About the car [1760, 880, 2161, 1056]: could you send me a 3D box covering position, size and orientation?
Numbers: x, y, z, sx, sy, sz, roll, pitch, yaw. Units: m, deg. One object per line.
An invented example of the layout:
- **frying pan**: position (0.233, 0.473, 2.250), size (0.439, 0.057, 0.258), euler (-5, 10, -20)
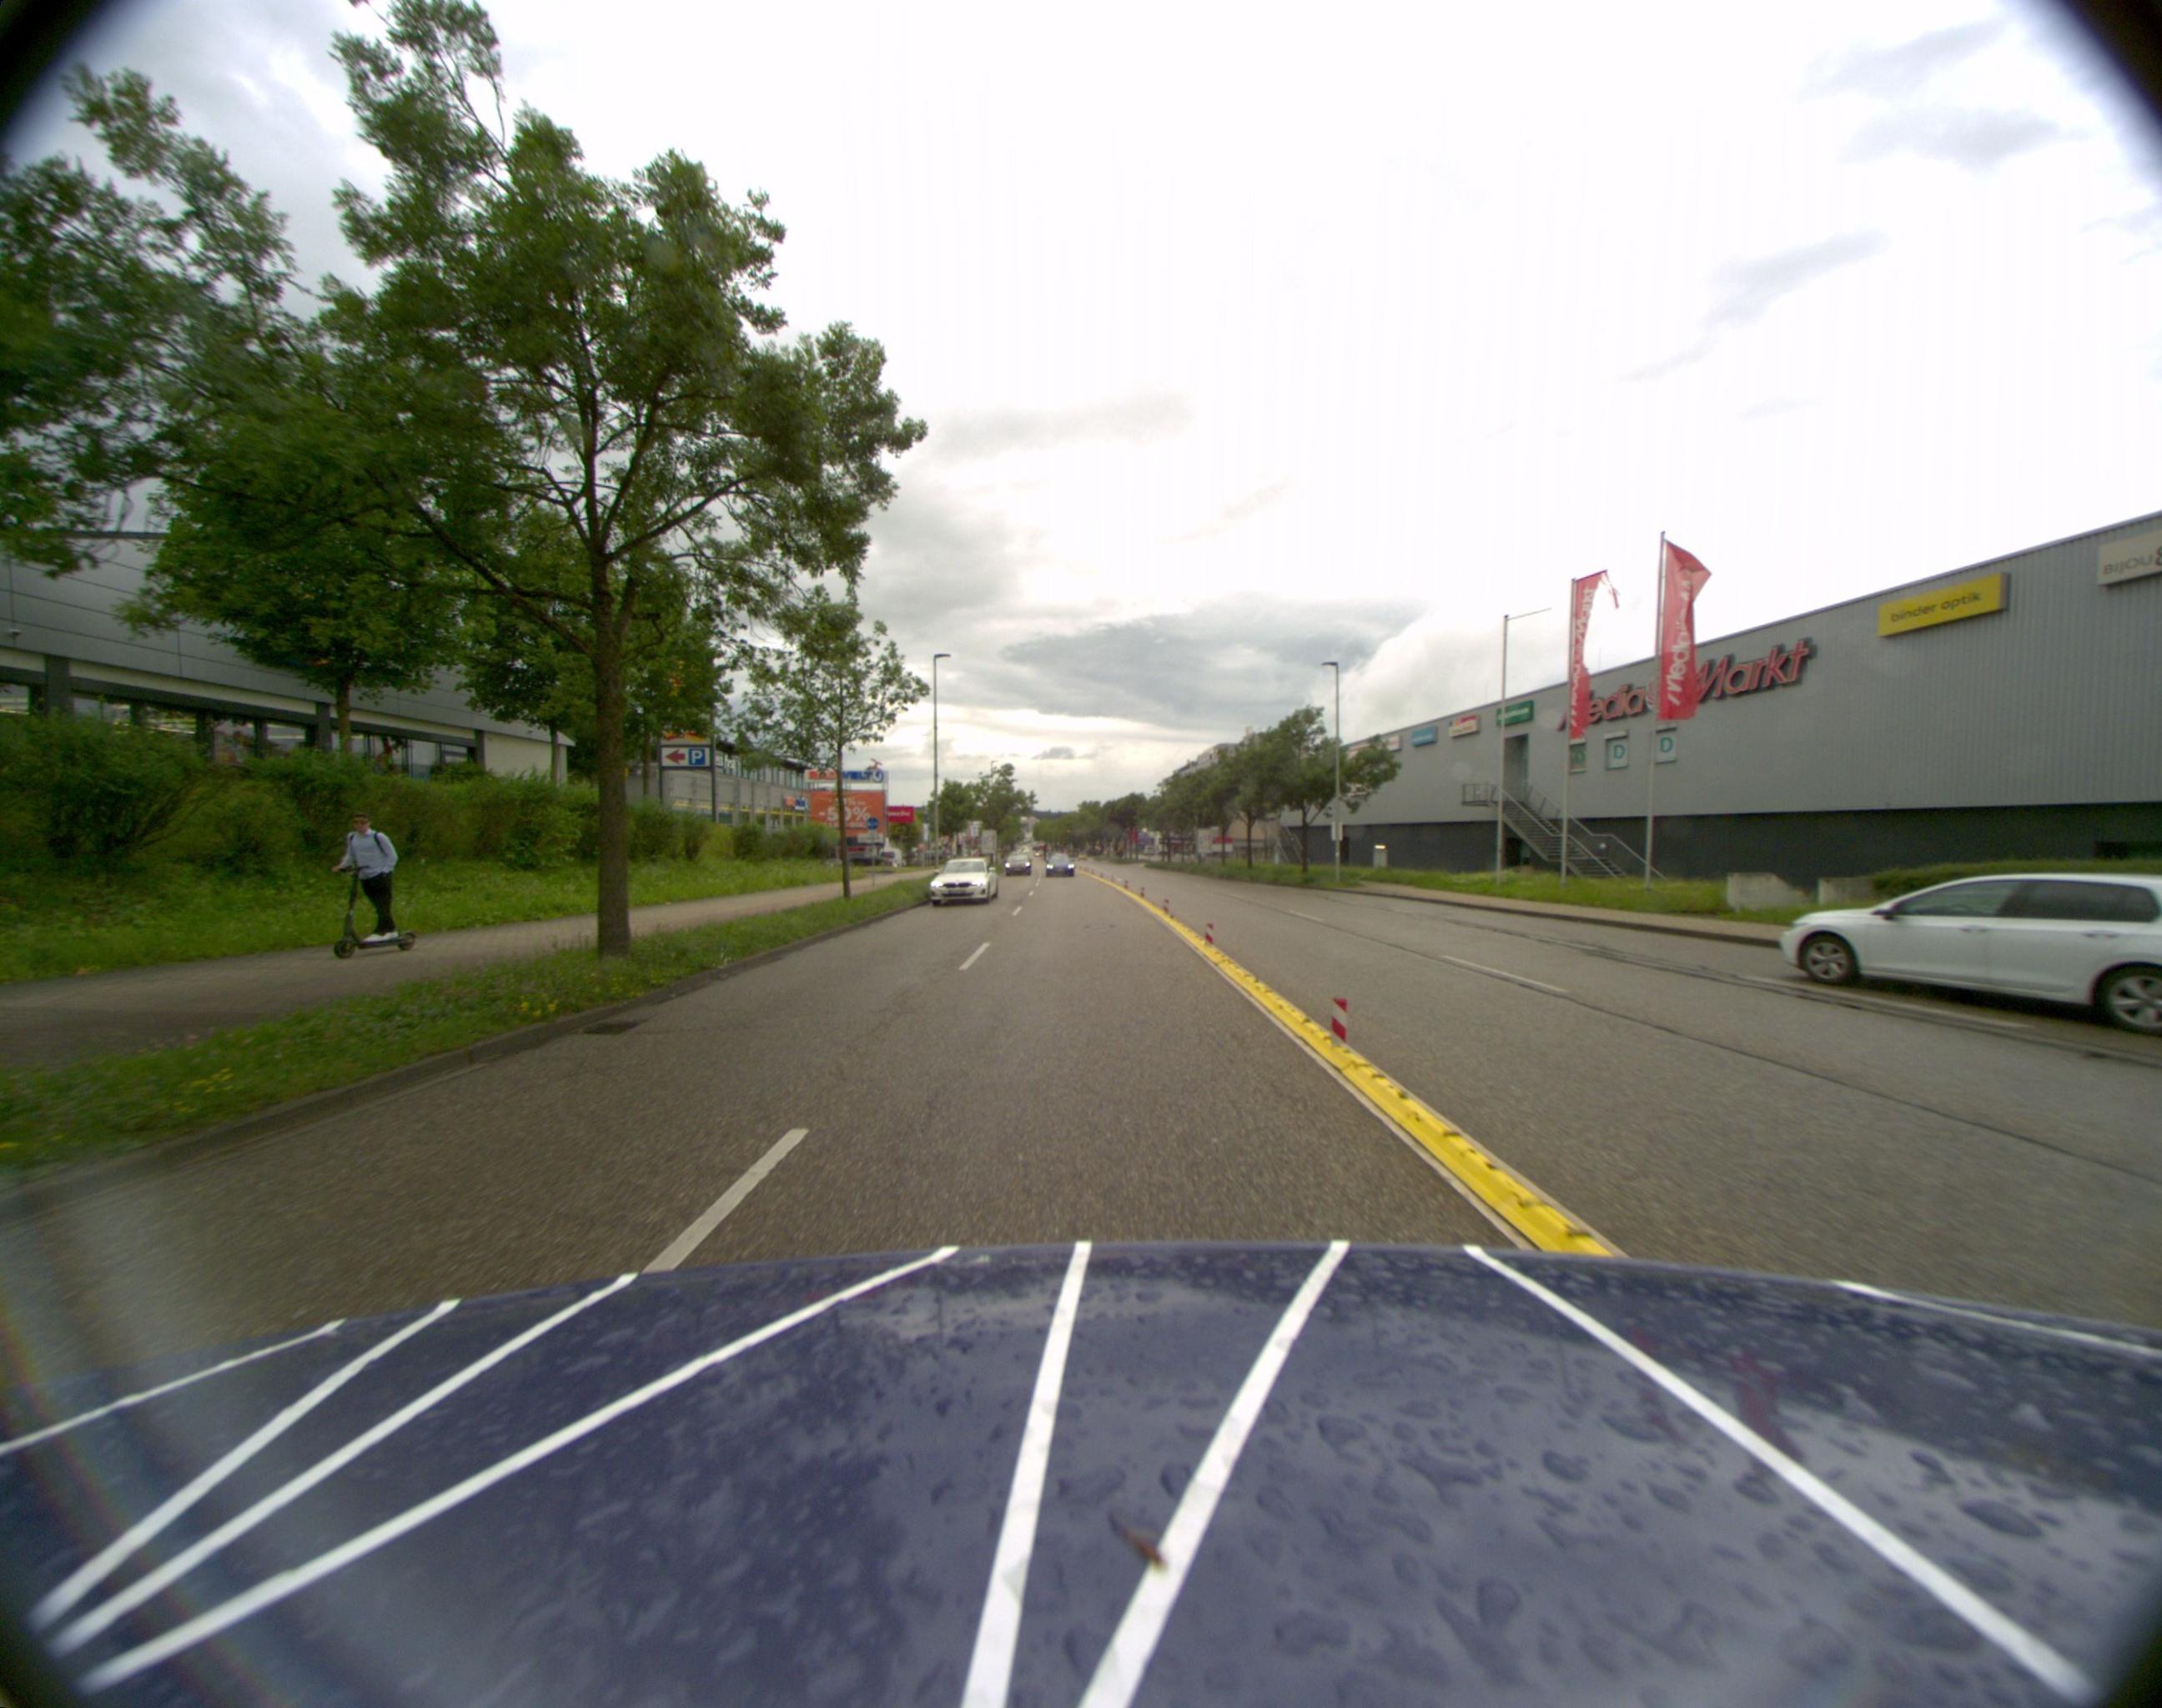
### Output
- **car**: position (10.189, 1.055, 8.003), size (1.905, 1.400, 4.422), euler (1, 0, -5)

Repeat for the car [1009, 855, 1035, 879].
- **car**: position (-4.397, 0.935, 56.157), size (1.799, 1.572, 4.216), euler (-2, 1, -5)

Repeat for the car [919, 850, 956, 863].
- **car**: position (-20.072, 0.308, 106.638), size (4.665, 1.591, 1.927), euler (3, 1, 6)

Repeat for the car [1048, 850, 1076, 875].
- **car**: position (-1.295, 0.518, 51.465), size (1.799, 1.572, 4.217), euler (-2, 1, -2)

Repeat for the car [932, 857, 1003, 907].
- **car**: position (-3.743, 0.867, 25.741), size (1.808, 1.432, 4.540), euler (-2, 1, -2)

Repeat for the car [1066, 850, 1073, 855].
- **car**: position (-3.313, -0.439, 220.710), size (1.746, 1.398, 4.466), euler (1, 1, -4)

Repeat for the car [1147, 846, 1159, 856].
- **car**: position (15.918, -0.725, 167.509), size (1.998, 2.002, 4.884), euler (-5, 1, 1)

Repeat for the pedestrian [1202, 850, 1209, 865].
- **pedestrian**: position (13.375, 0.340, 81.487), size (0.586, 1.574, 0.766), euler (-2, 1, -2)

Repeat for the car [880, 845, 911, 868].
- **car**: position (-21.450, 0.253, 88.154), size (2.233, 2.522, 5.679), euler (-2, 0, -2)

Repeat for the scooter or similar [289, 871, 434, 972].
- **scooter or similar**: position (-10.075, 0.904, 10.712), size (0.696, 1.256, 1.400), euler (2, 1, 2)

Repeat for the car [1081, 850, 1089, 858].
- **car**: position (0.806, 0.054, 160.200), size (1.621, 1.500, 3.710), euler (-4, 2, 0)

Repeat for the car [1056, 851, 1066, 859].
- **car**: position (-3.858, 0.183, 146.730), size (1.746, 1.398, 3.997), euler (1, 0, -6)

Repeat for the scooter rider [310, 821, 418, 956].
- **scooter rider**: position (-10.063, 0.458, 10.691), size (0.696, 1.810, 0.858), euler (2, 2, 2)

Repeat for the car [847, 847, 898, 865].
- **car**: position (-17.585, 0.197, 64.143), size (4.107, 1.430, 1.795), euler (0, -1, -17)

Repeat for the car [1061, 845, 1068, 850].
- **car**: position (-5.344, -2.132, 244.907), size (1.746, 1.543, 4.780), euler (1, 0, -4)

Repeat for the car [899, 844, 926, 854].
- **car**: position (-30.828, -0.896, 139.327), size (4.508, 1.672, 1.794), euler (2, 2, -43)
